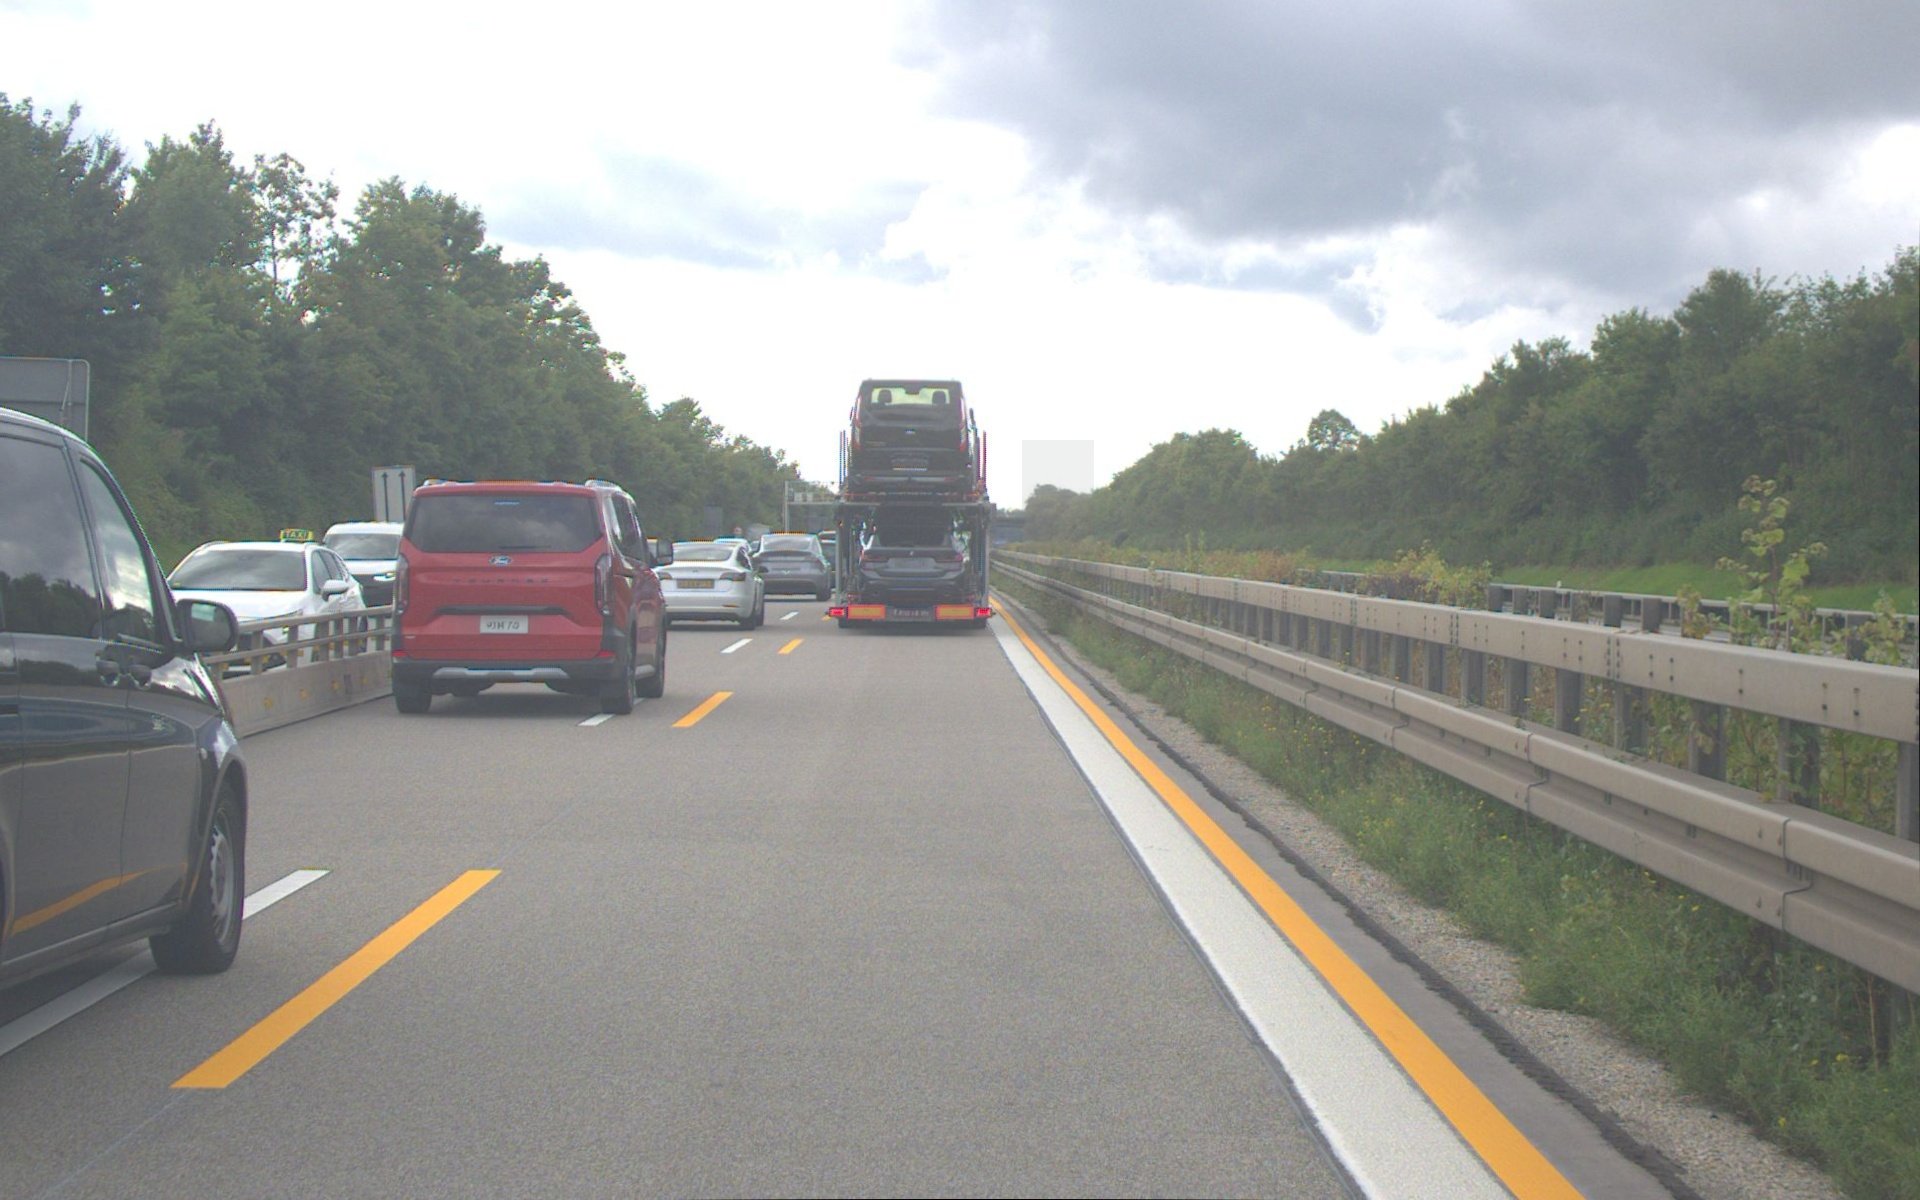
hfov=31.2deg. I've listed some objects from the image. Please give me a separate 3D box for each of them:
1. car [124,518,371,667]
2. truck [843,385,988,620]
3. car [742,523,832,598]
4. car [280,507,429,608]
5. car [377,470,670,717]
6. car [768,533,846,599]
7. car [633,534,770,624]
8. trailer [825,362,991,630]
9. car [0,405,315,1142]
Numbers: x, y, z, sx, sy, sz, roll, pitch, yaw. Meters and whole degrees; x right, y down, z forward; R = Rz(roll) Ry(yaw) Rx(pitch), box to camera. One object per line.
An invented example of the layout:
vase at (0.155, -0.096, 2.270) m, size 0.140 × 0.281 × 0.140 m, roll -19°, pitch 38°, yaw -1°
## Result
car at (-7.194, -0.116, 35.093) m, size 1.757 × 1.383 × 4.327 m, roll 1°, pitch 1°, yaw -2°
truck at (-0.780, -1.760, 63.261) m, size 2.515 × 4.091 × 5.685 m, roll 1°, pitch 1°, yaw 0°
car at (-4.119, -0.958, 82.504) m, size 2.031 × 1.751 × 4.578 m, roll 0°, pitch 1°, yaw -1°
car at (-11.264, -0.818, 64.237) m, size 1.993 × 1.785 × 4.934 m, roll 1°, pitch 1°, yaw -1°
car at (-3.737, -0.091, 30.228) m, size 2.031 × 2.007 × 4.578 m, roll 0°, pitch 1°, yaw 0°
car at (-4.199, -0.952, 94.877) m, size 2.031 × 1.751 × 4.578 m, roll 0°, pitch 1°, yaw -1°
car at (-4.271, -0.375, 57.411) m, size 2.031 × 1.426 × 4.578 m, roll 0°, pitch 1°, yaw -1°
trailer at (-0.791, -1.691, 58.501) m, size 2.515 × 4.091 × 11.114 m, roll 1°, pitch 1°, yaw 0°
car at (-3.400, 0.408, 10.087) m, size 1.993 × 1.837 × 5.610 m, roll 0°, pitch 1°, yaw 0°
